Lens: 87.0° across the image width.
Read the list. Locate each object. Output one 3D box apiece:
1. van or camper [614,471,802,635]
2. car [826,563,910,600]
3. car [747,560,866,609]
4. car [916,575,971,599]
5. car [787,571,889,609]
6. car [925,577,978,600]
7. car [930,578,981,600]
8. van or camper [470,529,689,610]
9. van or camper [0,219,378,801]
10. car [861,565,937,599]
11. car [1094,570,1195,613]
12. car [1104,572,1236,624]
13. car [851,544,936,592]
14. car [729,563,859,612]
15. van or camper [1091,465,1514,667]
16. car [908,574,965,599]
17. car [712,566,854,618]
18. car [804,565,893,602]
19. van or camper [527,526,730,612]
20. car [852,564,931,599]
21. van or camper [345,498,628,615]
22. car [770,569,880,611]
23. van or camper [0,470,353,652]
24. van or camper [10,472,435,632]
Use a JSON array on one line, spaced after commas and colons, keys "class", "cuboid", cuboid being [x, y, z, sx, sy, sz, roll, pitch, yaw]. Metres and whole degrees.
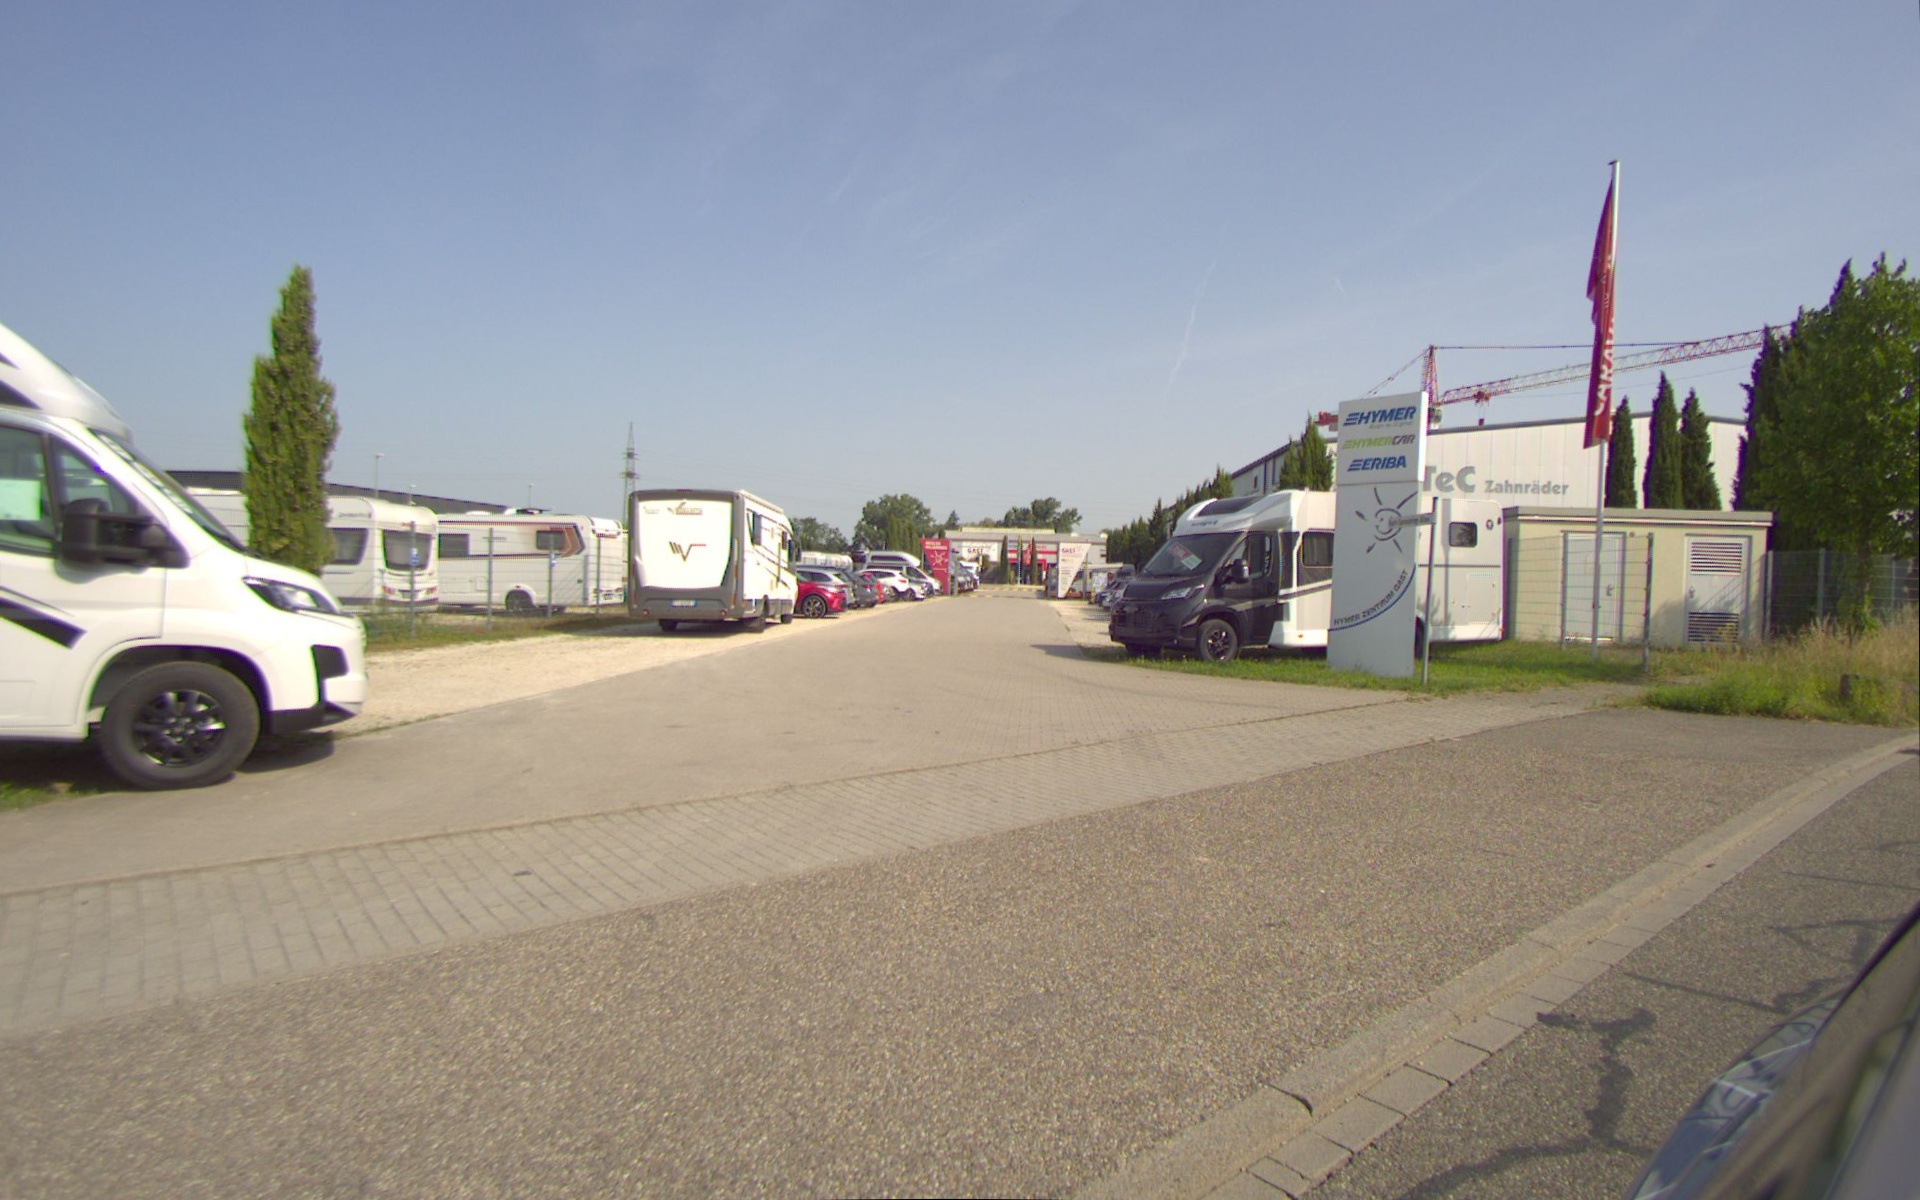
[{"class": "van or camper", "cuboid": [-5.369, -0.961, 22.905, 2.535, 3.069, 7.285, 1, 1, -1]}, {"class": "car", "cuboid": [-4.451, -0.892, 49.338, 3.875, 1.691, 1.540, 1, -1, 4]}, {"class": "car", "cuboid": [-5.344, -0.534, 35.515, 3.874, 1.612, 1.714, 1, -1, 4]}, {"class": "car", "cuboid": [-1.199, -0.938, 75.875, 3.882, 1.689, 1.538, 1, -1, 10]}, {"class": "car", "cuboid": [-4.877, -0.393, 40.822, 3.873, 1.390, 1.541, 1, -1, 3]}, {"class": "car", "cuboid": [-0.647, -0.899, 79.466, 3.882, 1.689, 1.538, 1, -1, 10]}, {"class": "car", "cuboid": [-0.339, -0.875, 81.745, 3.882, 1.689, 1.538, 1, -1, 10]}, {"class": "van or camper", "cuboid": [-12.592, -1.012, 33.740, 6.489, 2.556, 2.224, 1, 1, 3]}, {"class": "van or camper", "cuboid": [-7.028, -0.515, 5.228, 6.834, 2.980, 2.340, 1, 1, -33]}, {"class": "car", "cuboid": [-3.246, -0.976, 54.455, 3.875, 1.691, 1.540, 1, -1, 4]}, {"class": "car", "cuboid": [7.883, -0.378, 43.476, 3.923, 1.636, 1.717, 2, 2, -1]}, {"class": "car", "cuboid": [6.910, -0.073, 33.526, 3.923, 1.498, 1.717, 2, 2, -1]}, {"class": "car", "cuboid": [-3.843, -1.846, 58.830, 4.623, 2.631, 1.711, 2, 1, 10]}, {"class": "car", "cuboid": [-5.323, -0.379, 32.792, 3.925, 1.515, 1.715, 0, -1, 2]}, {"class": "van or camper", "cuboid": [5.882, -0.549, 17.078, 7.191, 2.883, 2.361, -1, 1, -26]}, {"class": "car", "cuboid": [-1.695, -0.972, 72.863, 3.882, 1.689, 1.538, 1, -1, 10]}, {"class": "car", "cuboid": [-5.191, -0.213, 29.988, 3.923, 1.435, 1.716, 1, -1, -1]}, {"class": "car", "cuboid": [-5.128, -0.754, 46.794, 3.873, 1.578, 1.541, 1, -1, 2]}, {"class": "van or camper", "cuboid": [-11.748, -1.116, 36.125, 6.489, 2.900, 2.326, 1, 1, 3]}, {"class": "car", "cuboid": [-3.491, -0.939, 51.856, 3.875, 1.691, 1.540, 1, -1, 4]}, {"class": "van or camper", "cuboid": [-12.458, -1.131, 26.910, 6.489, 2.900, 2.326, 1, 1, 3]}, {"class": "car", "cuboid": [-5.058, -0.373, 38.239, 3.875, 1.479, 1.540, 1, -1, 4]}, {"class": "van or camper", "cuboid": [-13.165, -0.639, 15.963, 6.038, 2.566, 1.999, 2, 1, 3]}, {"class": "van or camper", "cuboid": [-13.816, -0.885, 19.248, 6.488, 2.739, 2.327, 1, 1, 2]}]
